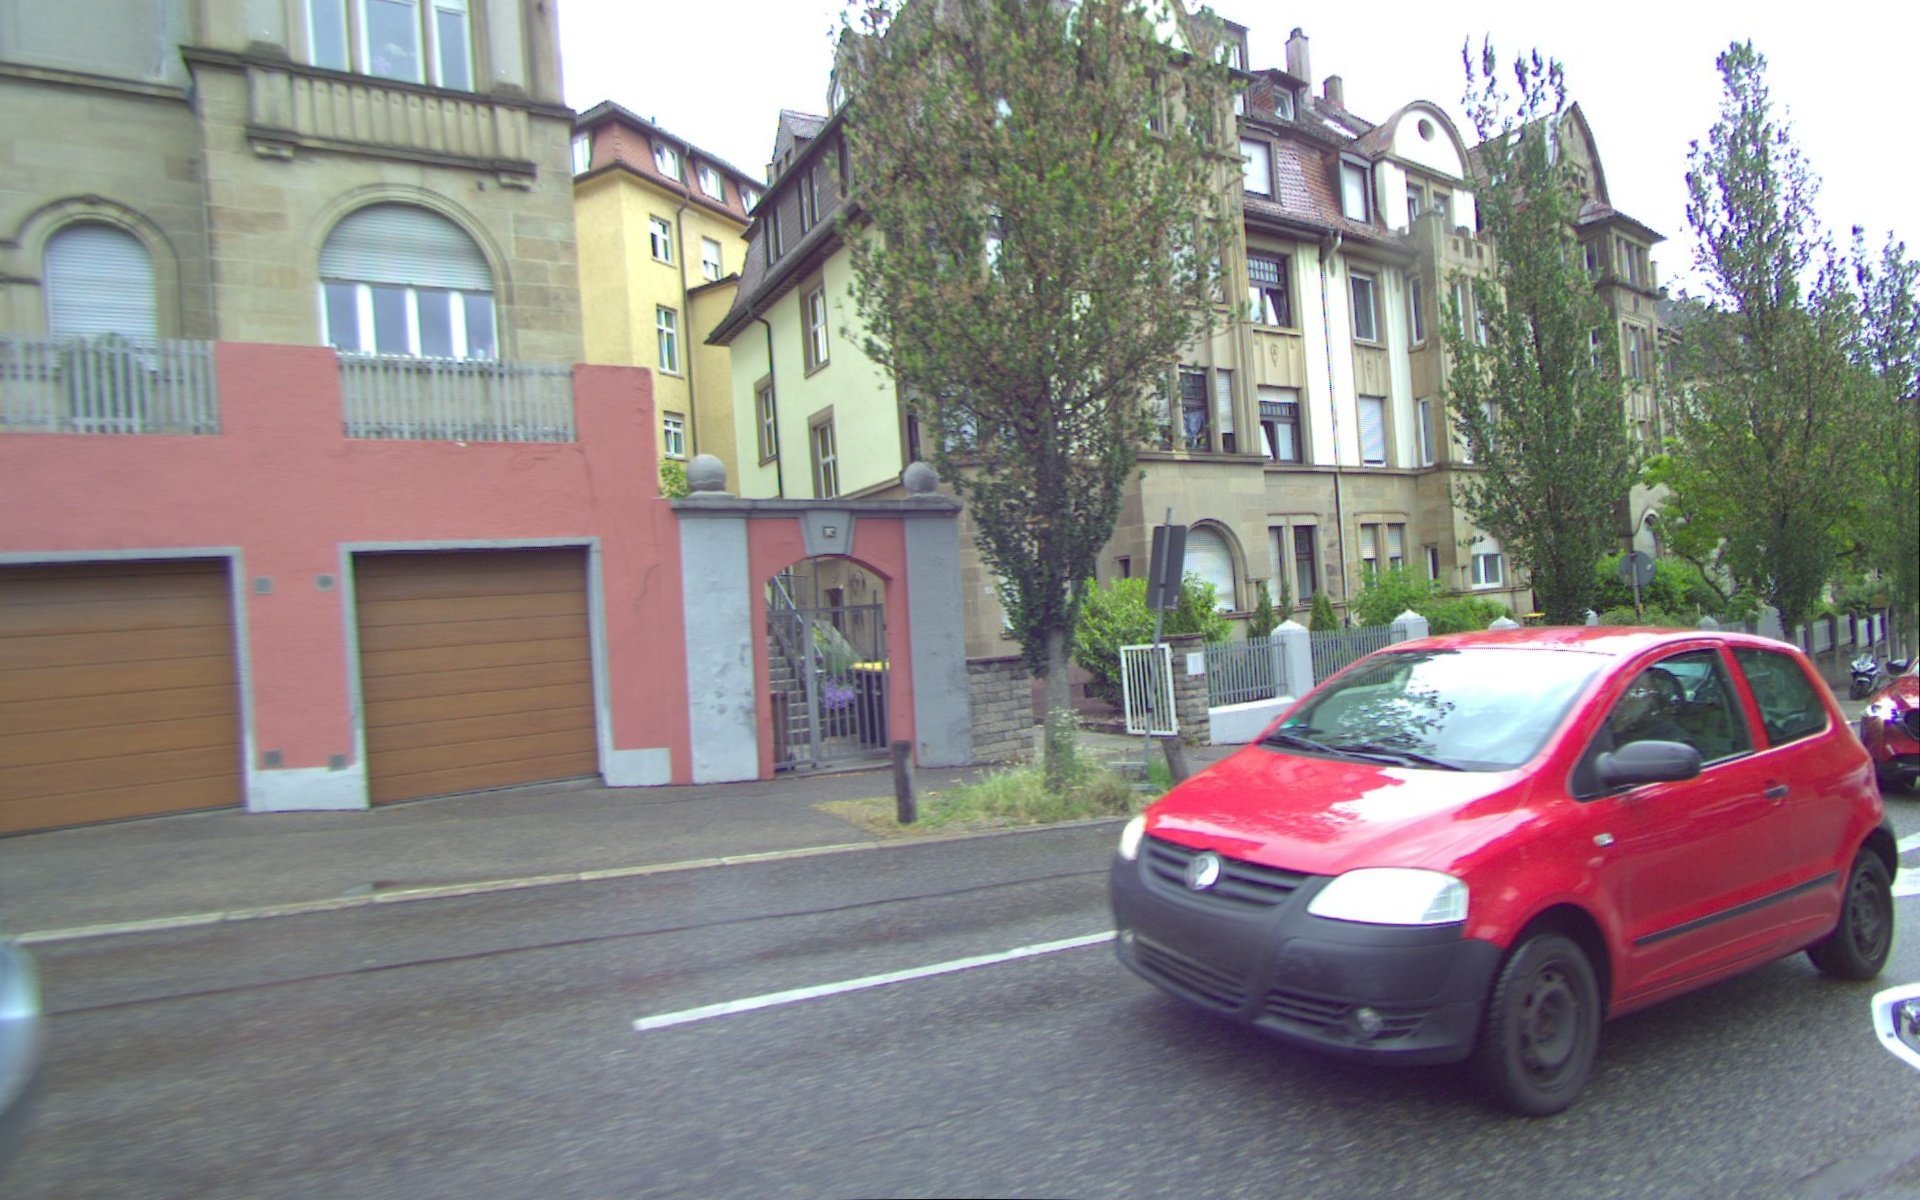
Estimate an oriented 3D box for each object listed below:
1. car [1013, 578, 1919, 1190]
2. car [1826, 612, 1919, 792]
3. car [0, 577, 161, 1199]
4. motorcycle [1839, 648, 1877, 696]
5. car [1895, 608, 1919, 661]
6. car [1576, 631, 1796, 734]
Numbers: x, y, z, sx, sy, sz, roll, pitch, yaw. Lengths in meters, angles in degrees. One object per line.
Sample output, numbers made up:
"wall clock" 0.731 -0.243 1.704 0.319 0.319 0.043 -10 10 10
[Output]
"car" 2.330 0.784 4.317 3.951 1.589 1.648 1 -2 -29
"car" 10.505 0.911 9.855 4.232 1.604 1.836 1 -5 -33
"car" -3.701 0.699 1.053 4.212 1.517 1.766 1 -2 -30
"motorcycle" 23.290 1.843 26.035 0.646 1.136 2.141 0 -1 44
"car" 32.401 1.090 33.057 4.162 1.672 1.774 1 -6 -40
"car" 13.056 1.407 18.022 3.954 1.634 1.806 2 -2 -31
